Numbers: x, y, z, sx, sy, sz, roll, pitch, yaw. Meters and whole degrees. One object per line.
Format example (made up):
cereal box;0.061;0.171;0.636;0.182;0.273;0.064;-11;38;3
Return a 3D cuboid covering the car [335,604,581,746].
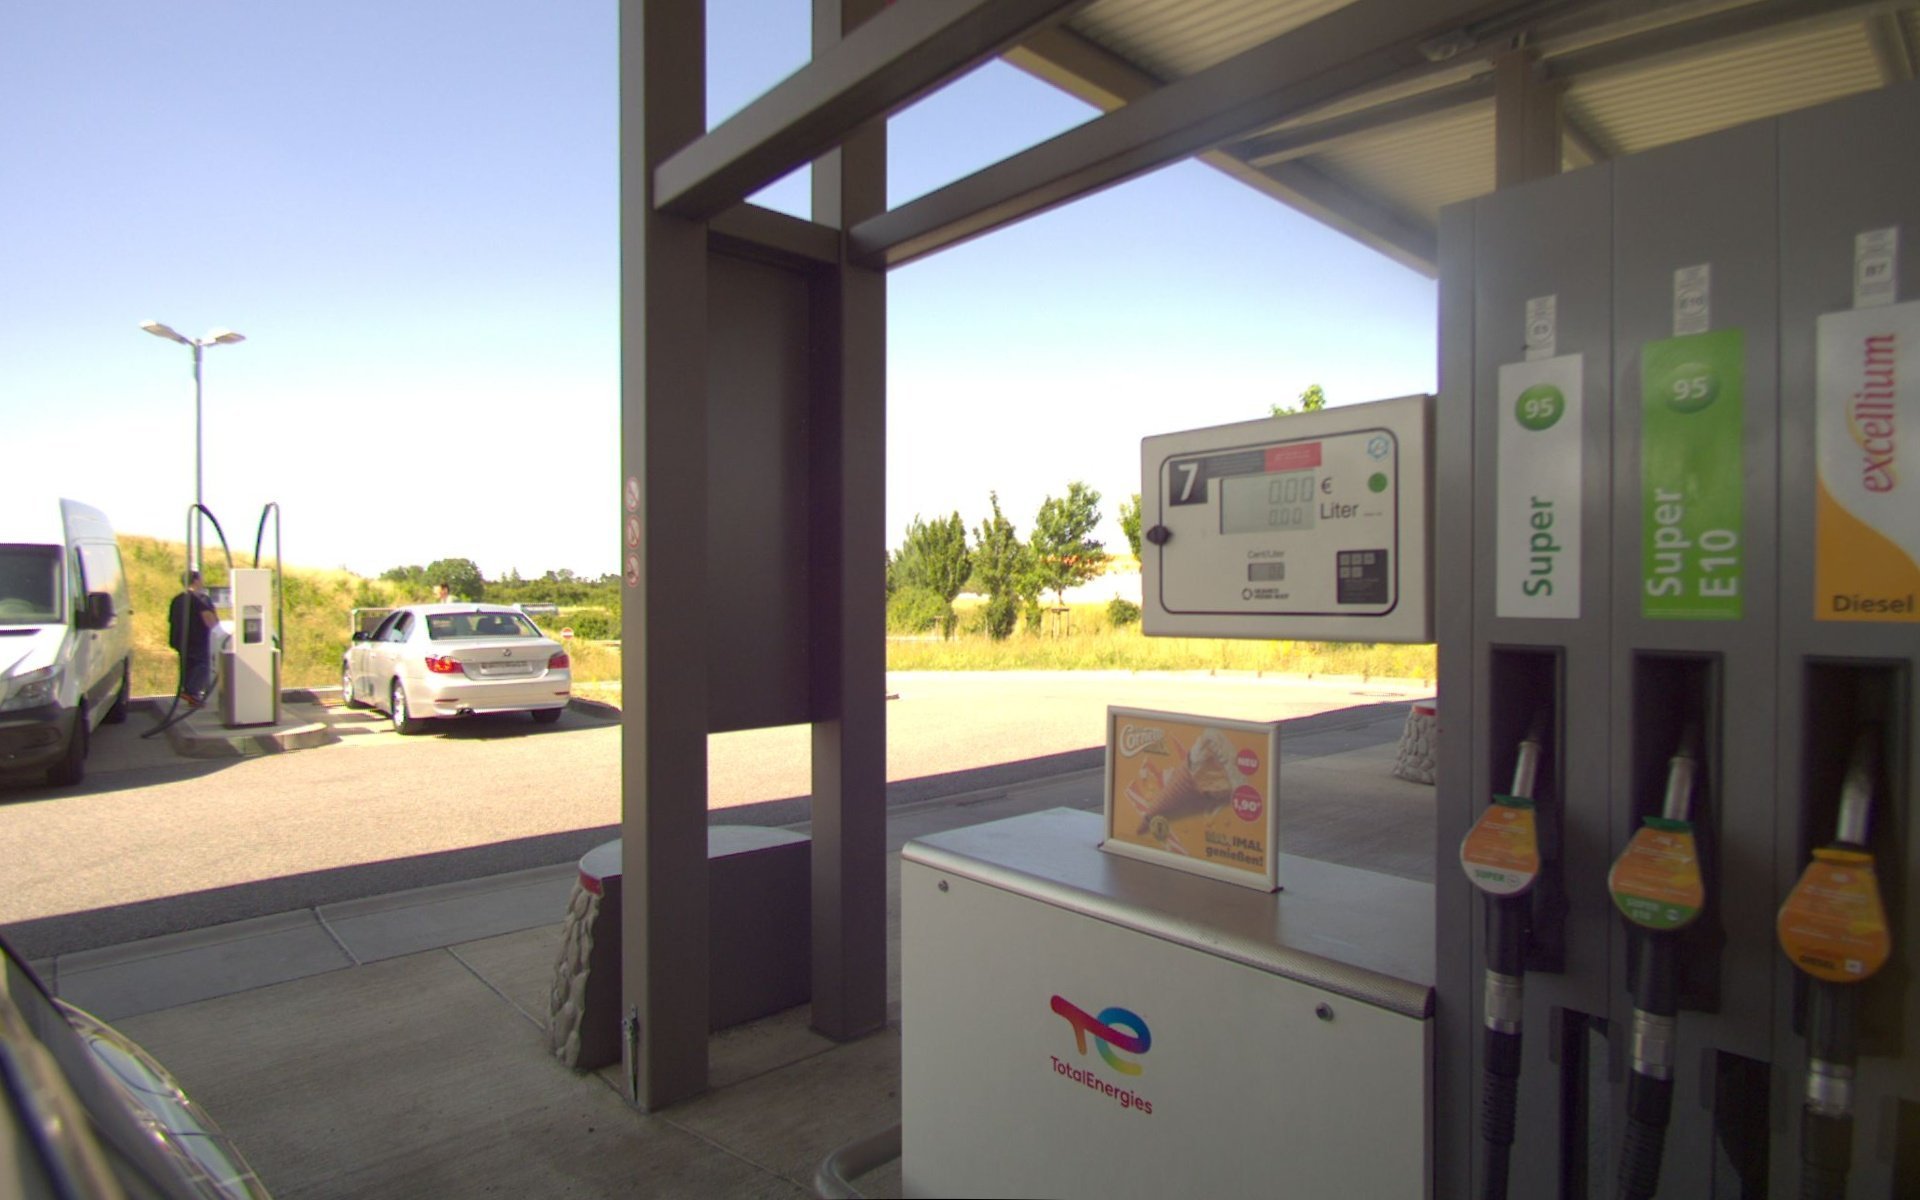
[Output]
car;-6.482;0.798;12.811;1.765;1.439;4.328;0;0;-41

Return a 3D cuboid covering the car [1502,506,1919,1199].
car;3.498;0.567;1.583;1.758;1.553;4.331;0;-1;-41

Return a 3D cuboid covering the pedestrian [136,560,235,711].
pedestrian;-9.519;0.421;12.468;0.697;1.783;0.847;0;-1;-15

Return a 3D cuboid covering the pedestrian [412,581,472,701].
pedestrian;-7.907;0.613;15.432;0.697;1.762;0.847;0;-1;-35

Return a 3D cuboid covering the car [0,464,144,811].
car;-9.682;0.196;10.095;1.967;2.590;7.049;0;1;-35

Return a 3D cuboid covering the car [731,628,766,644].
car;-21.844;3.695;104.551;1.867;1.530;4.007;0;-1;-39
